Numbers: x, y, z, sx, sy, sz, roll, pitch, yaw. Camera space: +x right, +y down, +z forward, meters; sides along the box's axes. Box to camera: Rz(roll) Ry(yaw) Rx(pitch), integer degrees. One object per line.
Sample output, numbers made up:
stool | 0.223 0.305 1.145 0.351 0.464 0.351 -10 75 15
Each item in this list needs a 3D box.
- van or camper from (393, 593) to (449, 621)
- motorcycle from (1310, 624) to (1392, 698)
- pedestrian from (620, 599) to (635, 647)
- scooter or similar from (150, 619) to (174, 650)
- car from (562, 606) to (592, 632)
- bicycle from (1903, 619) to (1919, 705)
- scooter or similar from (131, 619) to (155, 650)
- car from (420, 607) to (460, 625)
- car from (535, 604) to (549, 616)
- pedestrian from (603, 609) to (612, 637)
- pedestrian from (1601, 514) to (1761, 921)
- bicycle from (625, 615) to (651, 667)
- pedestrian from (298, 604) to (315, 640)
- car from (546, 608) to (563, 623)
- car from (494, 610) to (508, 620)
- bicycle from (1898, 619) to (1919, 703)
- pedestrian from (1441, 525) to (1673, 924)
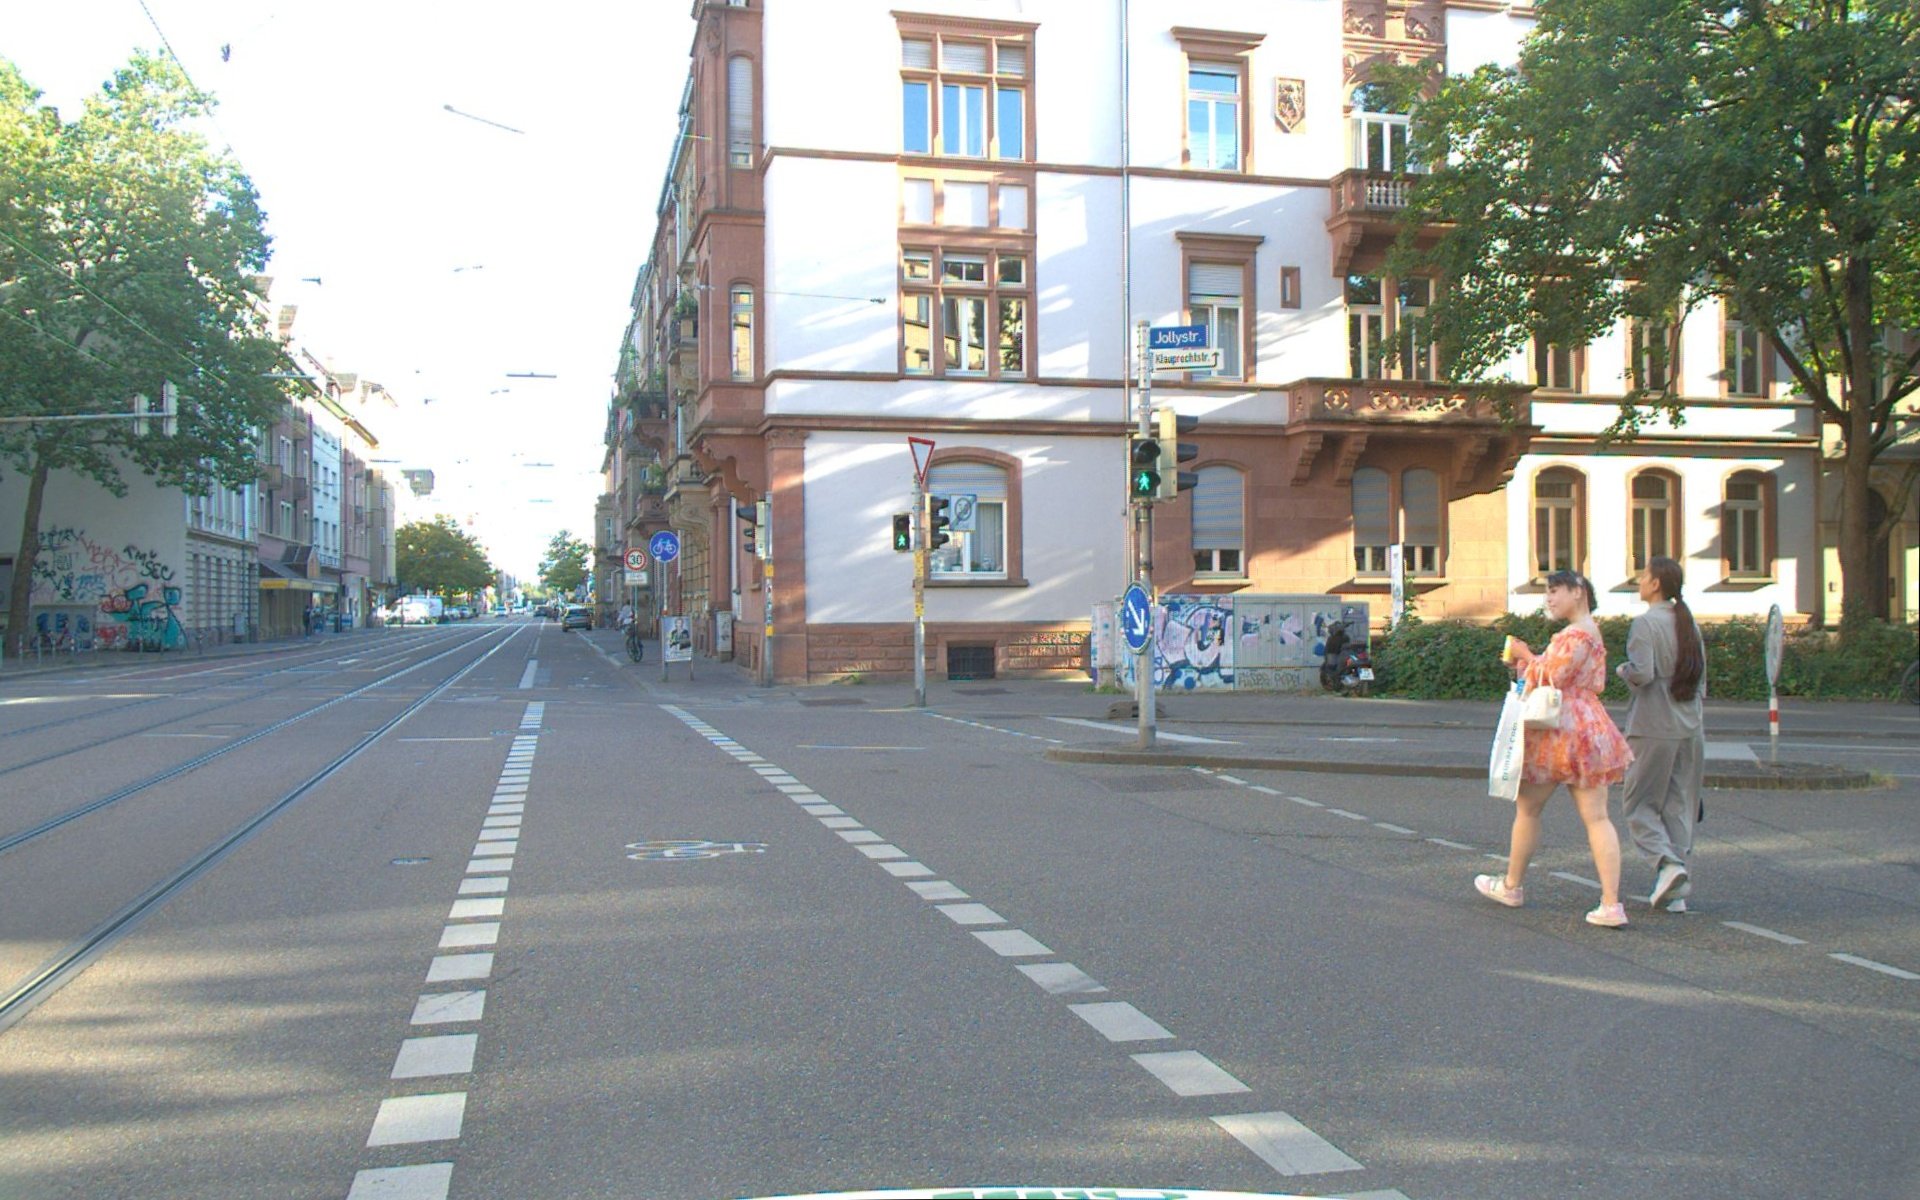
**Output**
van or camper | -50.885 0.658 156.148 1.967 2.608 4.616 -1 -1 45
motorcycle | 6.335 0.966 26.888 0.705 1.037 2.286 -1 2 -2
pedestrian | -12.649 0.887 62.938 0.535 1.811 0.502 0 -1 -13
scooter or similar | -28.868 1.235 59.843 0.508 1.076 1.472 0 0 -16
car | -25.652 1.249 110.913 1.916 1.713 3.987 0 0 -13
bicycle | 14.245 0.862 23.086 1.821 1.182 0.559 -1 1 24
scooter or similar | -29.453 1.240 59.656 0.508 1.064 1.472 0 0 -16
car | -59.673 1.866 189.770 3.961 2.049 1.972 0 0 -39
car | -60.505 1.446 239.359 1.960 1.758 3.984 0 -1 -15
pedestrian | -22.811 1.499 107.123 0.535 1.811 0.747 0 -1 -13
pedestrian | 3.586 0.542 8.281 0.676 1.941 0.670 1 3 20
bicycle | -8.552 1.069 43.868 0.642 1.347 2.170 0 0 -11
pedestrian | -32.158 1.070 81.420 0.689 1.759 0.645 0 0 -14
car | -50.391 1.938 205.557 1.960 1.758 3.984 0 -1 -15
car | -65.175 2.115 234.735 1.789 1.467 3.985 0 -1 -14
bicycle | 14.489 0.869 23.635 1.821 1.182 0.559 -1 1 24
pedestrian | 2.919 0.584 8.164 0.789 1.831 0.761 3 0 1
